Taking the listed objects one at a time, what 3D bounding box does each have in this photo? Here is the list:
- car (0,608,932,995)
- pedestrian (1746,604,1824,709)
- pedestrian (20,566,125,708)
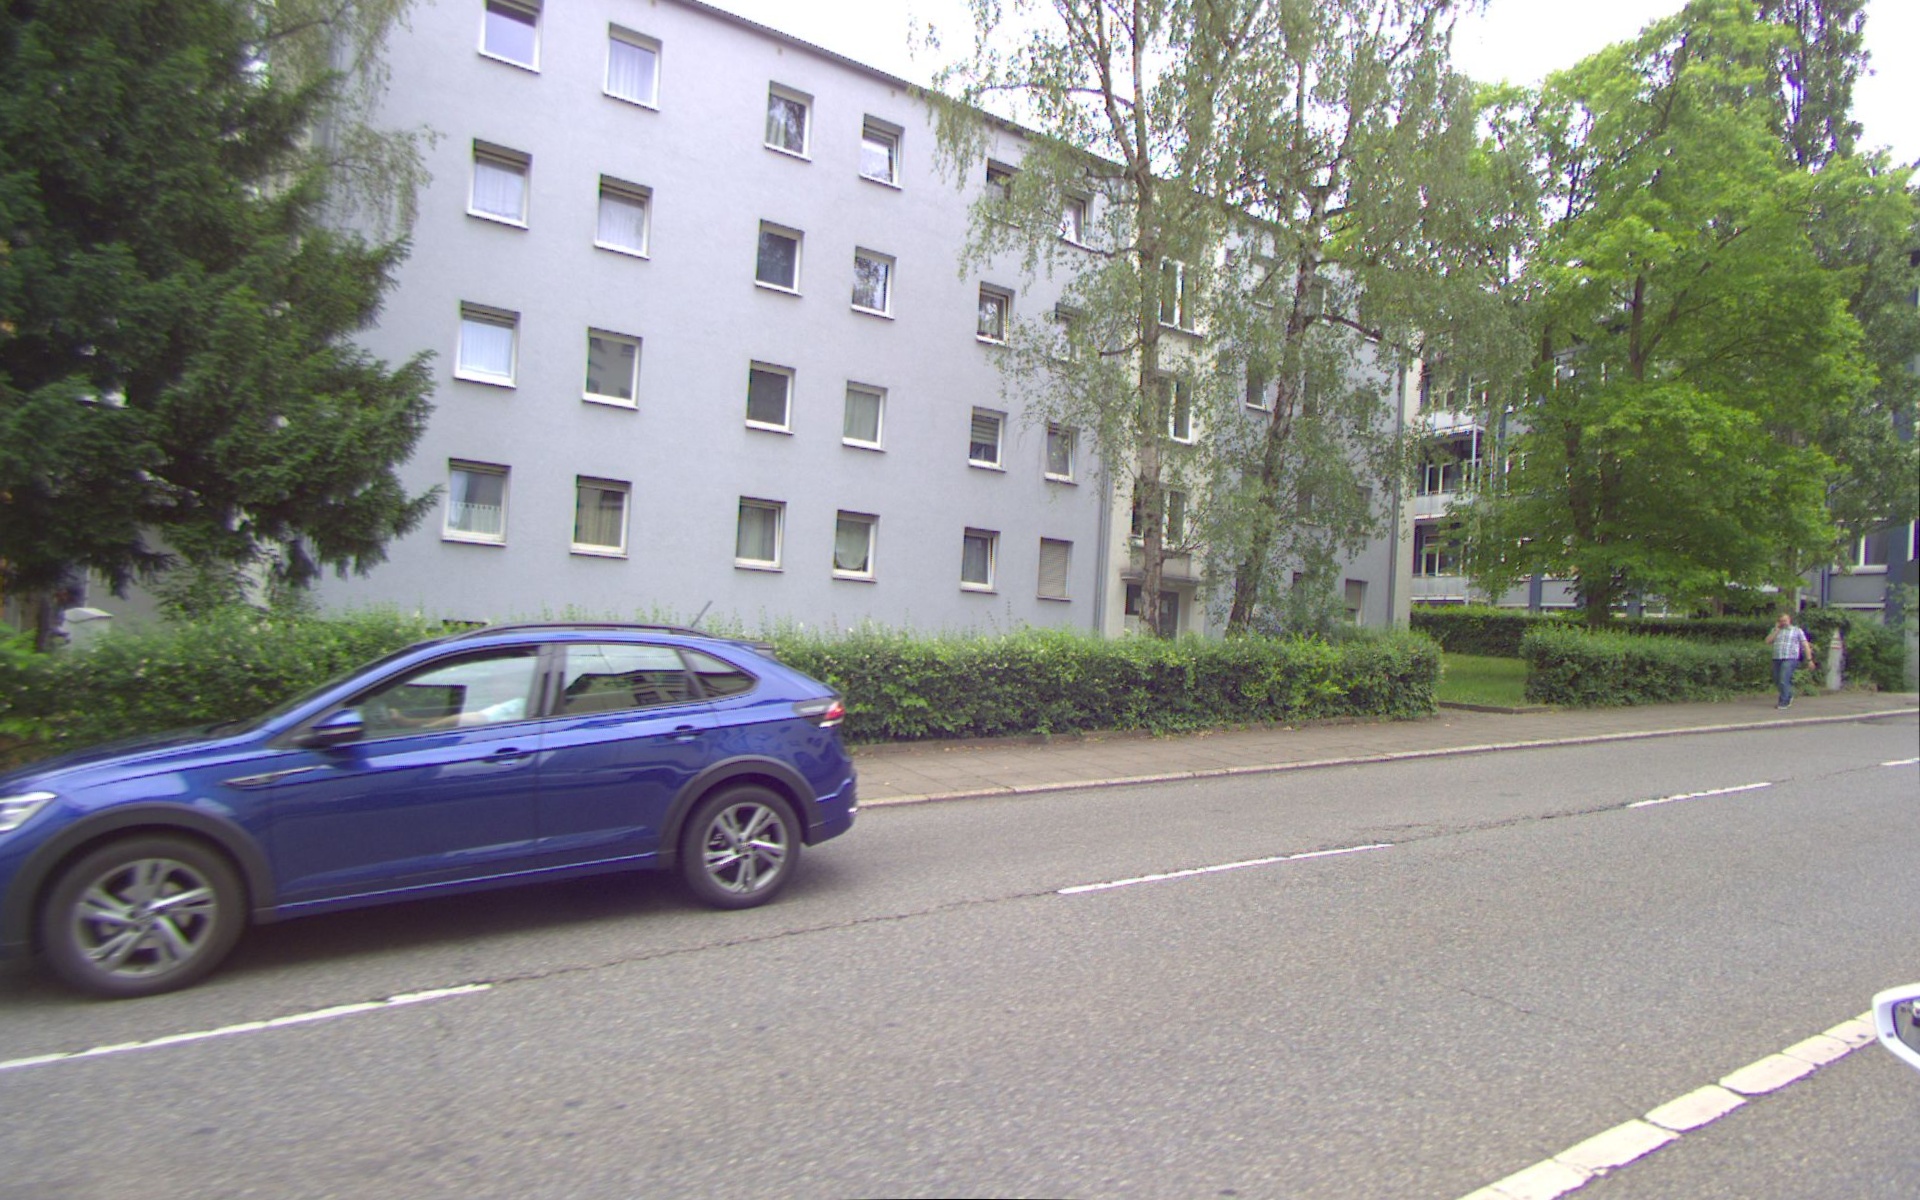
[{"bbox_3d":[-2.455,0.844,5.581,4.260,1.467,1.831,2,-3,-30],"label":"car"},{"bbox_3d":[16.353,1.097,19.915,0.857,1.976,0.878,1,2,-30],"label":"pedestrian"},{"bbox_3d":[-11.661,0.462,13.229,0.783,1.778,0.720,-3,1,-25],"label":"pedestrian"}]
